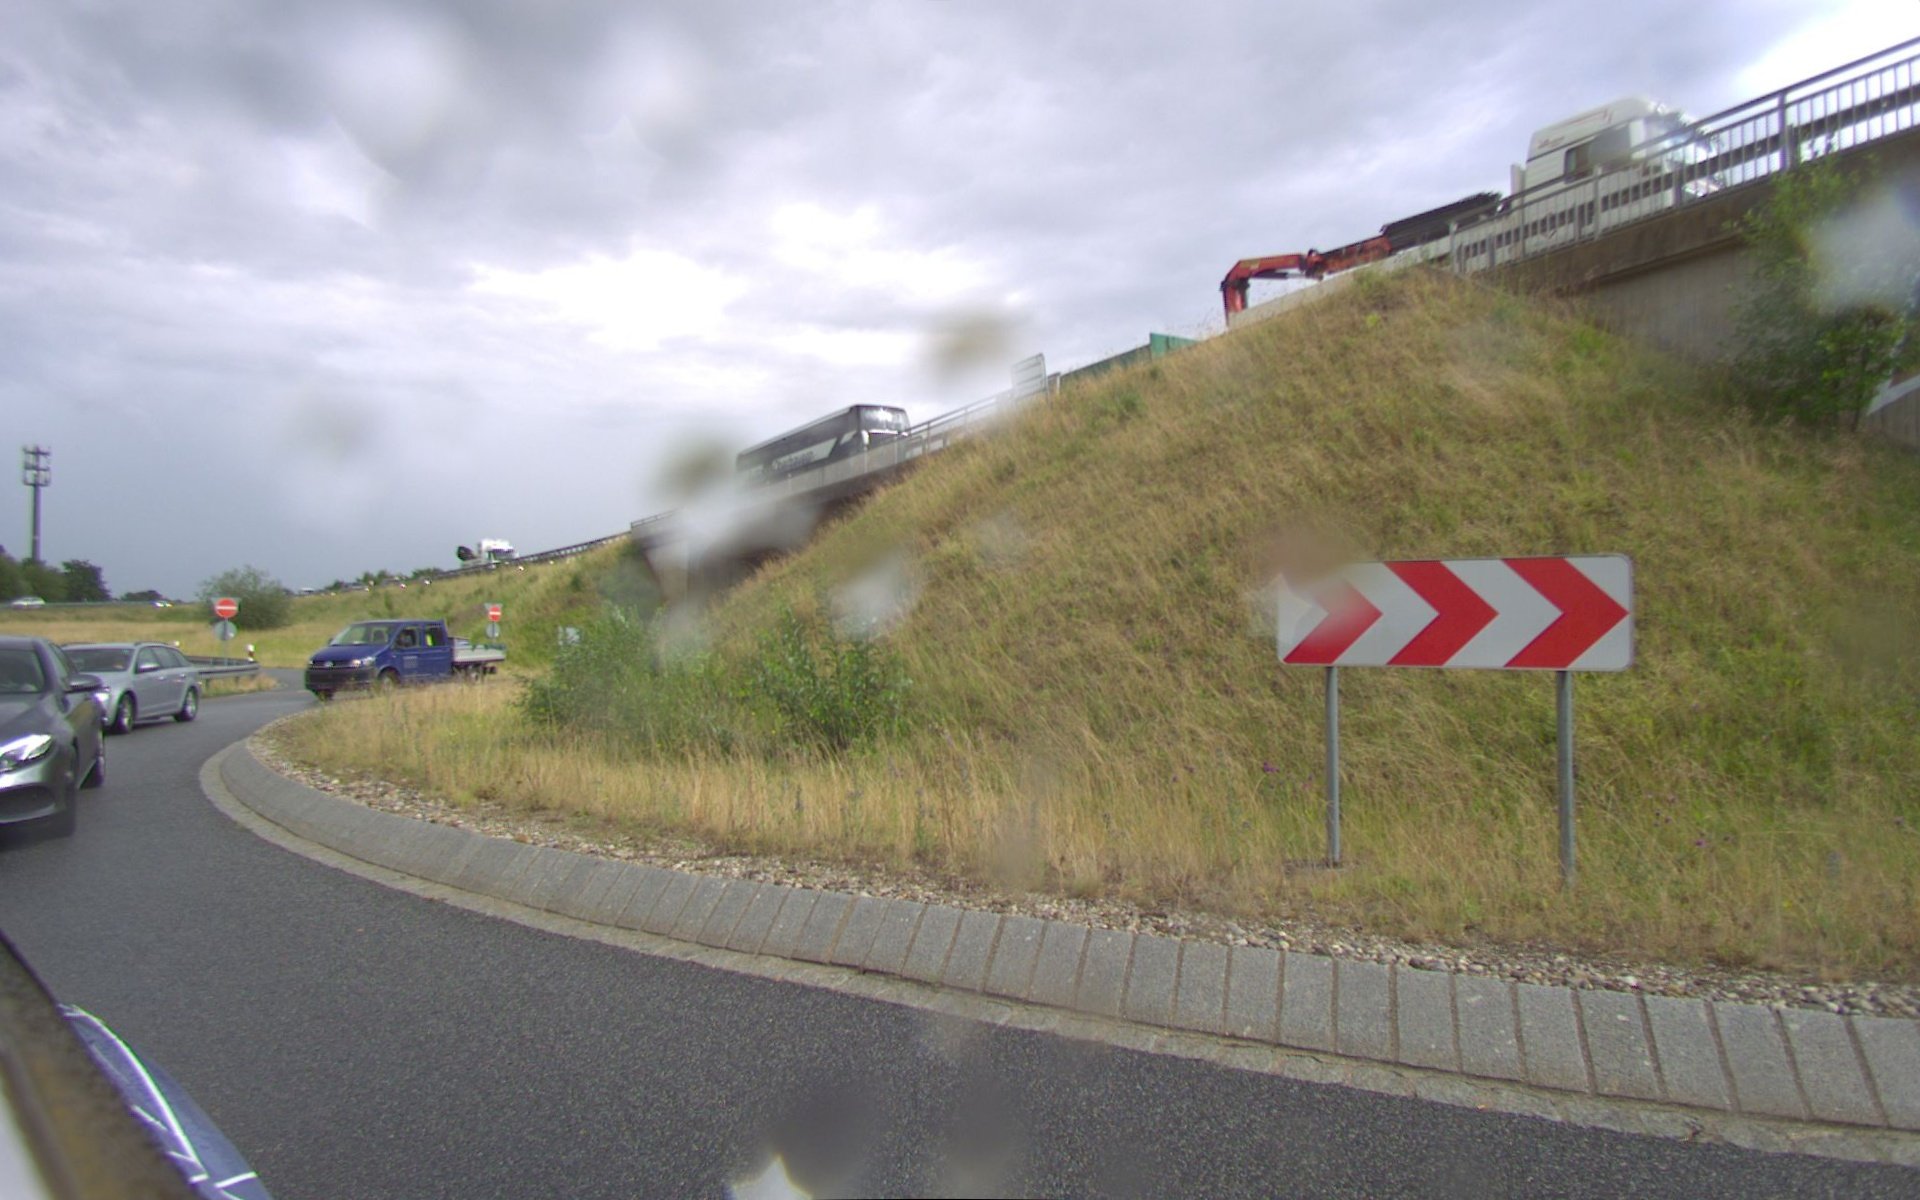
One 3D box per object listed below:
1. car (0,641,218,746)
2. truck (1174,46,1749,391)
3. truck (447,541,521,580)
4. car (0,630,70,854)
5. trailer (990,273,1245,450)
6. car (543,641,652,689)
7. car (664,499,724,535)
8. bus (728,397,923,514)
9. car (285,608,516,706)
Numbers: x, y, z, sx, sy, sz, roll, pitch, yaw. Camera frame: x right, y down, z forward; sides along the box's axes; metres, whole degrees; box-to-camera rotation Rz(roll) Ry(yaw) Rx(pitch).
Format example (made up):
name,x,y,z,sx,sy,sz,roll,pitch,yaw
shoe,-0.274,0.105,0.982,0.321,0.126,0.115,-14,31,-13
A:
name,x,y,z,sx,sy,sz,roll,pitch,yaw
car,-13.842,1.428,16.453,1.767,1.409,4.363,-2,-2,-21
truck,9.016,-6.854,20.516,2.170,2.895,10.856,-1,-1,-32
truck,-46.225,-3.732,98.153,9.276,3.218,3.118,-2,-1,42
car,-8.017,1.006,7.681,1.745,1.402,4.595,1,-3,-43
trailer,4.058,-6.364,28.511,2.150,2.893,8.355,-1,-1,-31
car,-12.417,2.207,34.920,1.558,1.548,3.908,-1,-3,15
car,-15.886,-4.920,60.310,1.688,1.536,4.503,-12,6,-36
bus,-6.572,-6.115,45.601,2.569,3.103,14.502,-1,-1,-34
car,-14.192,1.357,26.182,1.875,1.929,5.660,-3,2,13
